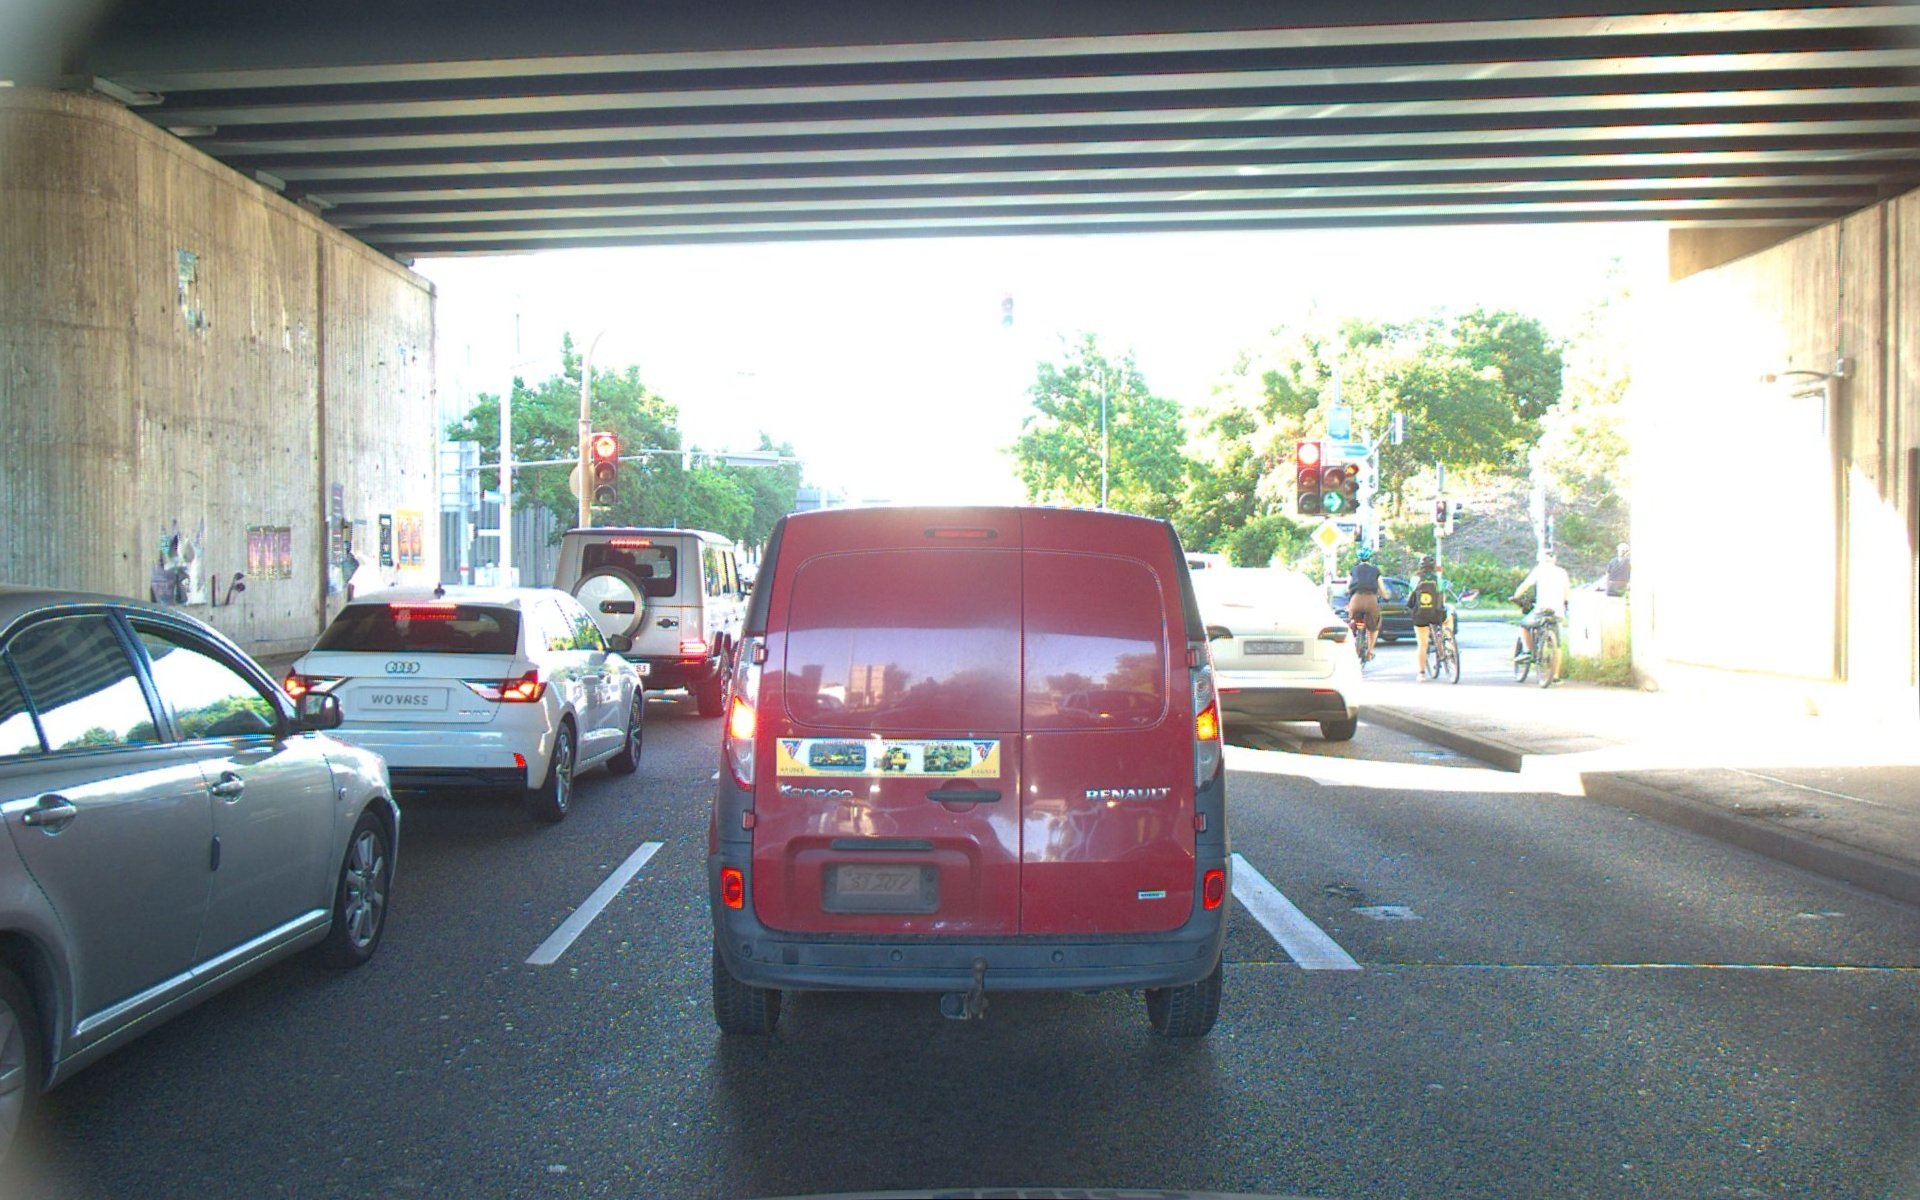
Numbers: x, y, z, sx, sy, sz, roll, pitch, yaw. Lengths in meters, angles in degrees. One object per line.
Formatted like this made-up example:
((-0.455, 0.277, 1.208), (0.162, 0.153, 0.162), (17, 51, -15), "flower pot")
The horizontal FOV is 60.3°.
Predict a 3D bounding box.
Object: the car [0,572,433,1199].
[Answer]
((-3.060, 0.655, 4.907), (1.662, 1.480, 4.397), (1, 0, -2), "car")

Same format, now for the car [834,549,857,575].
((-9.678, -3.233, 140.150), (1.712, 2.049, 3.843), (1, 0, -1), "car")

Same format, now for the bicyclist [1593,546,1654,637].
((12.467, -0.157, 31.079), (0.877, 1.684, 0.739), (1, 0, -39), "bicyclist")

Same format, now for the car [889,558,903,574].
((-8.846, -4.729, 228.579), (1.890, 2.049, 3.913), (1, 0, -1), "car")

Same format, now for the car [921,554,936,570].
((-4.188, -5.045, 220.652), (1.953, 2.049, 3.999), (1, 0, -1), "car")

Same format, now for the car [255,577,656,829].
((-3.257, 0.584, 11.449), (1.658, 1.435, 3.812), (1, 0, -1), "car")

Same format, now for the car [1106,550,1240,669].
((3.808, 0.100, 28.909), (1.857, 1.868, 4.840), (1, 1, 13), "car")

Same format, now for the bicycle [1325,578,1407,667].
((5.701, 0.303, 23.171), (0.639, 1.188, 1.774), (0, 0, 30), "bicycle")

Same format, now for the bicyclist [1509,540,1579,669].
((7.350, 0.055, 20.847), (0.655, 1.589, 0.735), (0, 0, 4), "bicyclist")

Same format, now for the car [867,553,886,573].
((-9.121, -4.015, 181.073), (1.953, 2.049, 3.999), (1, 0, -1), "car")

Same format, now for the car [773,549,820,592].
((-8.103, -1.452, 82.398), (1.953, 2.049, 3.999), (1, 0, -1), "car")

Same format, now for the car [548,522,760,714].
((-3.357, 0.176, 18.813), (1.777, 1.937, 3.812), (1, 0, -2), "car")

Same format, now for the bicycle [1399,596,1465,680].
((6.189, 0.484, 21.751), (0.662, 1.042, 1.530), (1, 0, 10), "bicycle")

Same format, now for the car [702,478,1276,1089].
((0.061, 0.536, 6.922), (1.684, 1.795, 3.999), (1, 0, -1), "car")

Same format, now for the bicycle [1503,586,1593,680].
((7.341, 0.403, 20.712), (0.666, 1.132, 1.605), (0, 0, 4), "bicycle")

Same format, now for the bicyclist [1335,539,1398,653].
((5.700, -0.053, 23.157), (0.640, 1.561, 0.845), (0, 0, 30), "bicyclist")

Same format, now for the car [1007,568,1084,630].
((2.160, -0.038, 42.557), (1.710, 1.481, 3.716), (1, 0, -1), "car")

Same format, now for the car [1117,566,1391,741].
((2.893, 0.460, 17.301), (1.953, 1.578, 4.420), (1, 1, -2), "car")

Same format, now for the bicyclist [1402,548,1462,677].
((6.196, 0.159, 21.750), (0.663, 1.657, 0.644), (1, 0, 10), "bicyclist")
